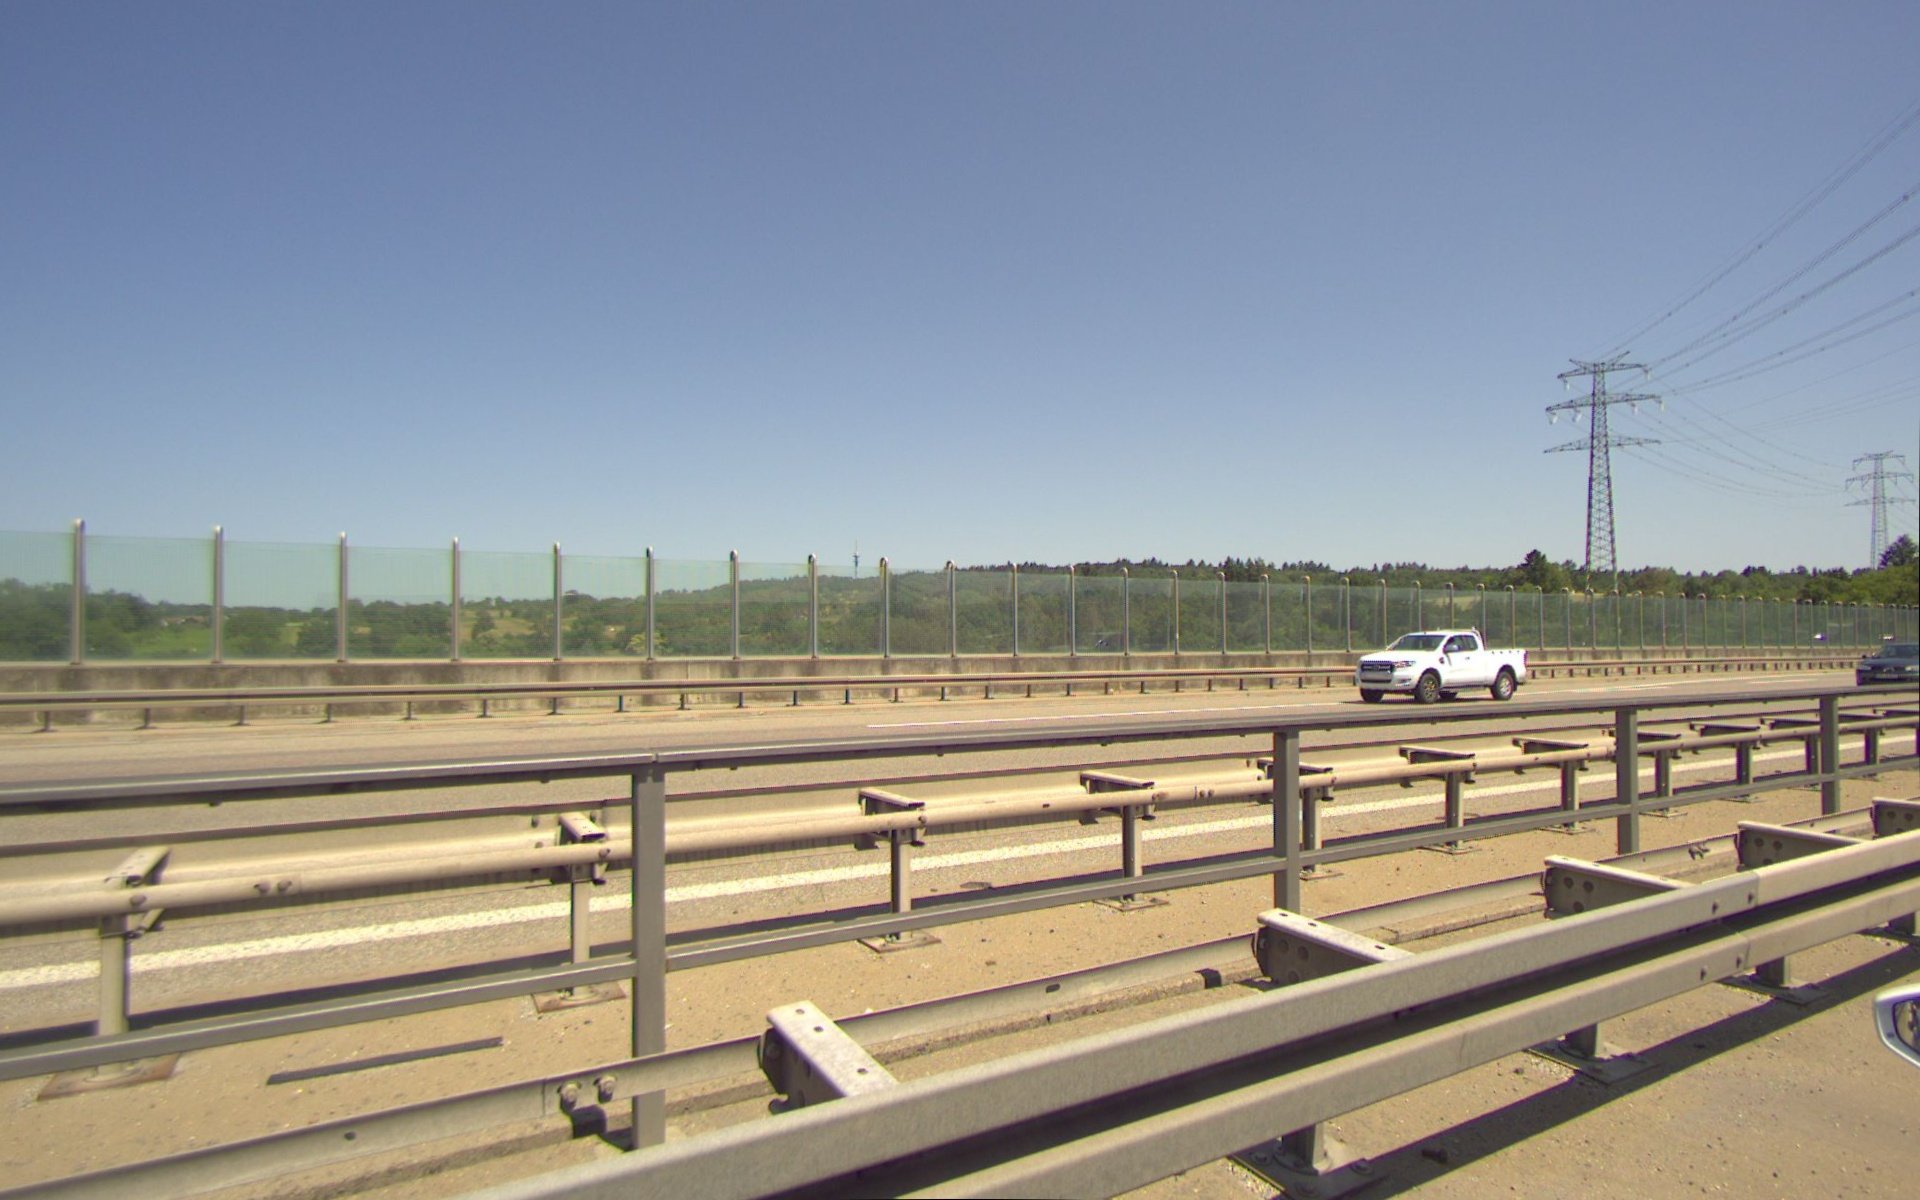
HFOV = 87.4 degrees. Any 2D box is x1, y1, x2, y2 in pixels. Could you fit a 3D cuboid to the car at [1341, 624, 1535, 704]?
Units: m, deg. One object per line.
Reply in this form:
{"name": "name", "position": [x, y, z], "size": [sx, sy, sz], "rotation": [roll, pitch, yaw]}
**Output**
{"name": "car", "position": [12.479, 1.628, 26.157], "size": [5.195, 1.909, 1.984], "rotation": [1, -4, -31]}

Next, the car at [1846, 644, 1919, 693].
{"name": "car", "position": [28.381, 2.000, 30.056], "size": [4.130, 1.367, 1.590], "rotation": [1, -3, -31]}
